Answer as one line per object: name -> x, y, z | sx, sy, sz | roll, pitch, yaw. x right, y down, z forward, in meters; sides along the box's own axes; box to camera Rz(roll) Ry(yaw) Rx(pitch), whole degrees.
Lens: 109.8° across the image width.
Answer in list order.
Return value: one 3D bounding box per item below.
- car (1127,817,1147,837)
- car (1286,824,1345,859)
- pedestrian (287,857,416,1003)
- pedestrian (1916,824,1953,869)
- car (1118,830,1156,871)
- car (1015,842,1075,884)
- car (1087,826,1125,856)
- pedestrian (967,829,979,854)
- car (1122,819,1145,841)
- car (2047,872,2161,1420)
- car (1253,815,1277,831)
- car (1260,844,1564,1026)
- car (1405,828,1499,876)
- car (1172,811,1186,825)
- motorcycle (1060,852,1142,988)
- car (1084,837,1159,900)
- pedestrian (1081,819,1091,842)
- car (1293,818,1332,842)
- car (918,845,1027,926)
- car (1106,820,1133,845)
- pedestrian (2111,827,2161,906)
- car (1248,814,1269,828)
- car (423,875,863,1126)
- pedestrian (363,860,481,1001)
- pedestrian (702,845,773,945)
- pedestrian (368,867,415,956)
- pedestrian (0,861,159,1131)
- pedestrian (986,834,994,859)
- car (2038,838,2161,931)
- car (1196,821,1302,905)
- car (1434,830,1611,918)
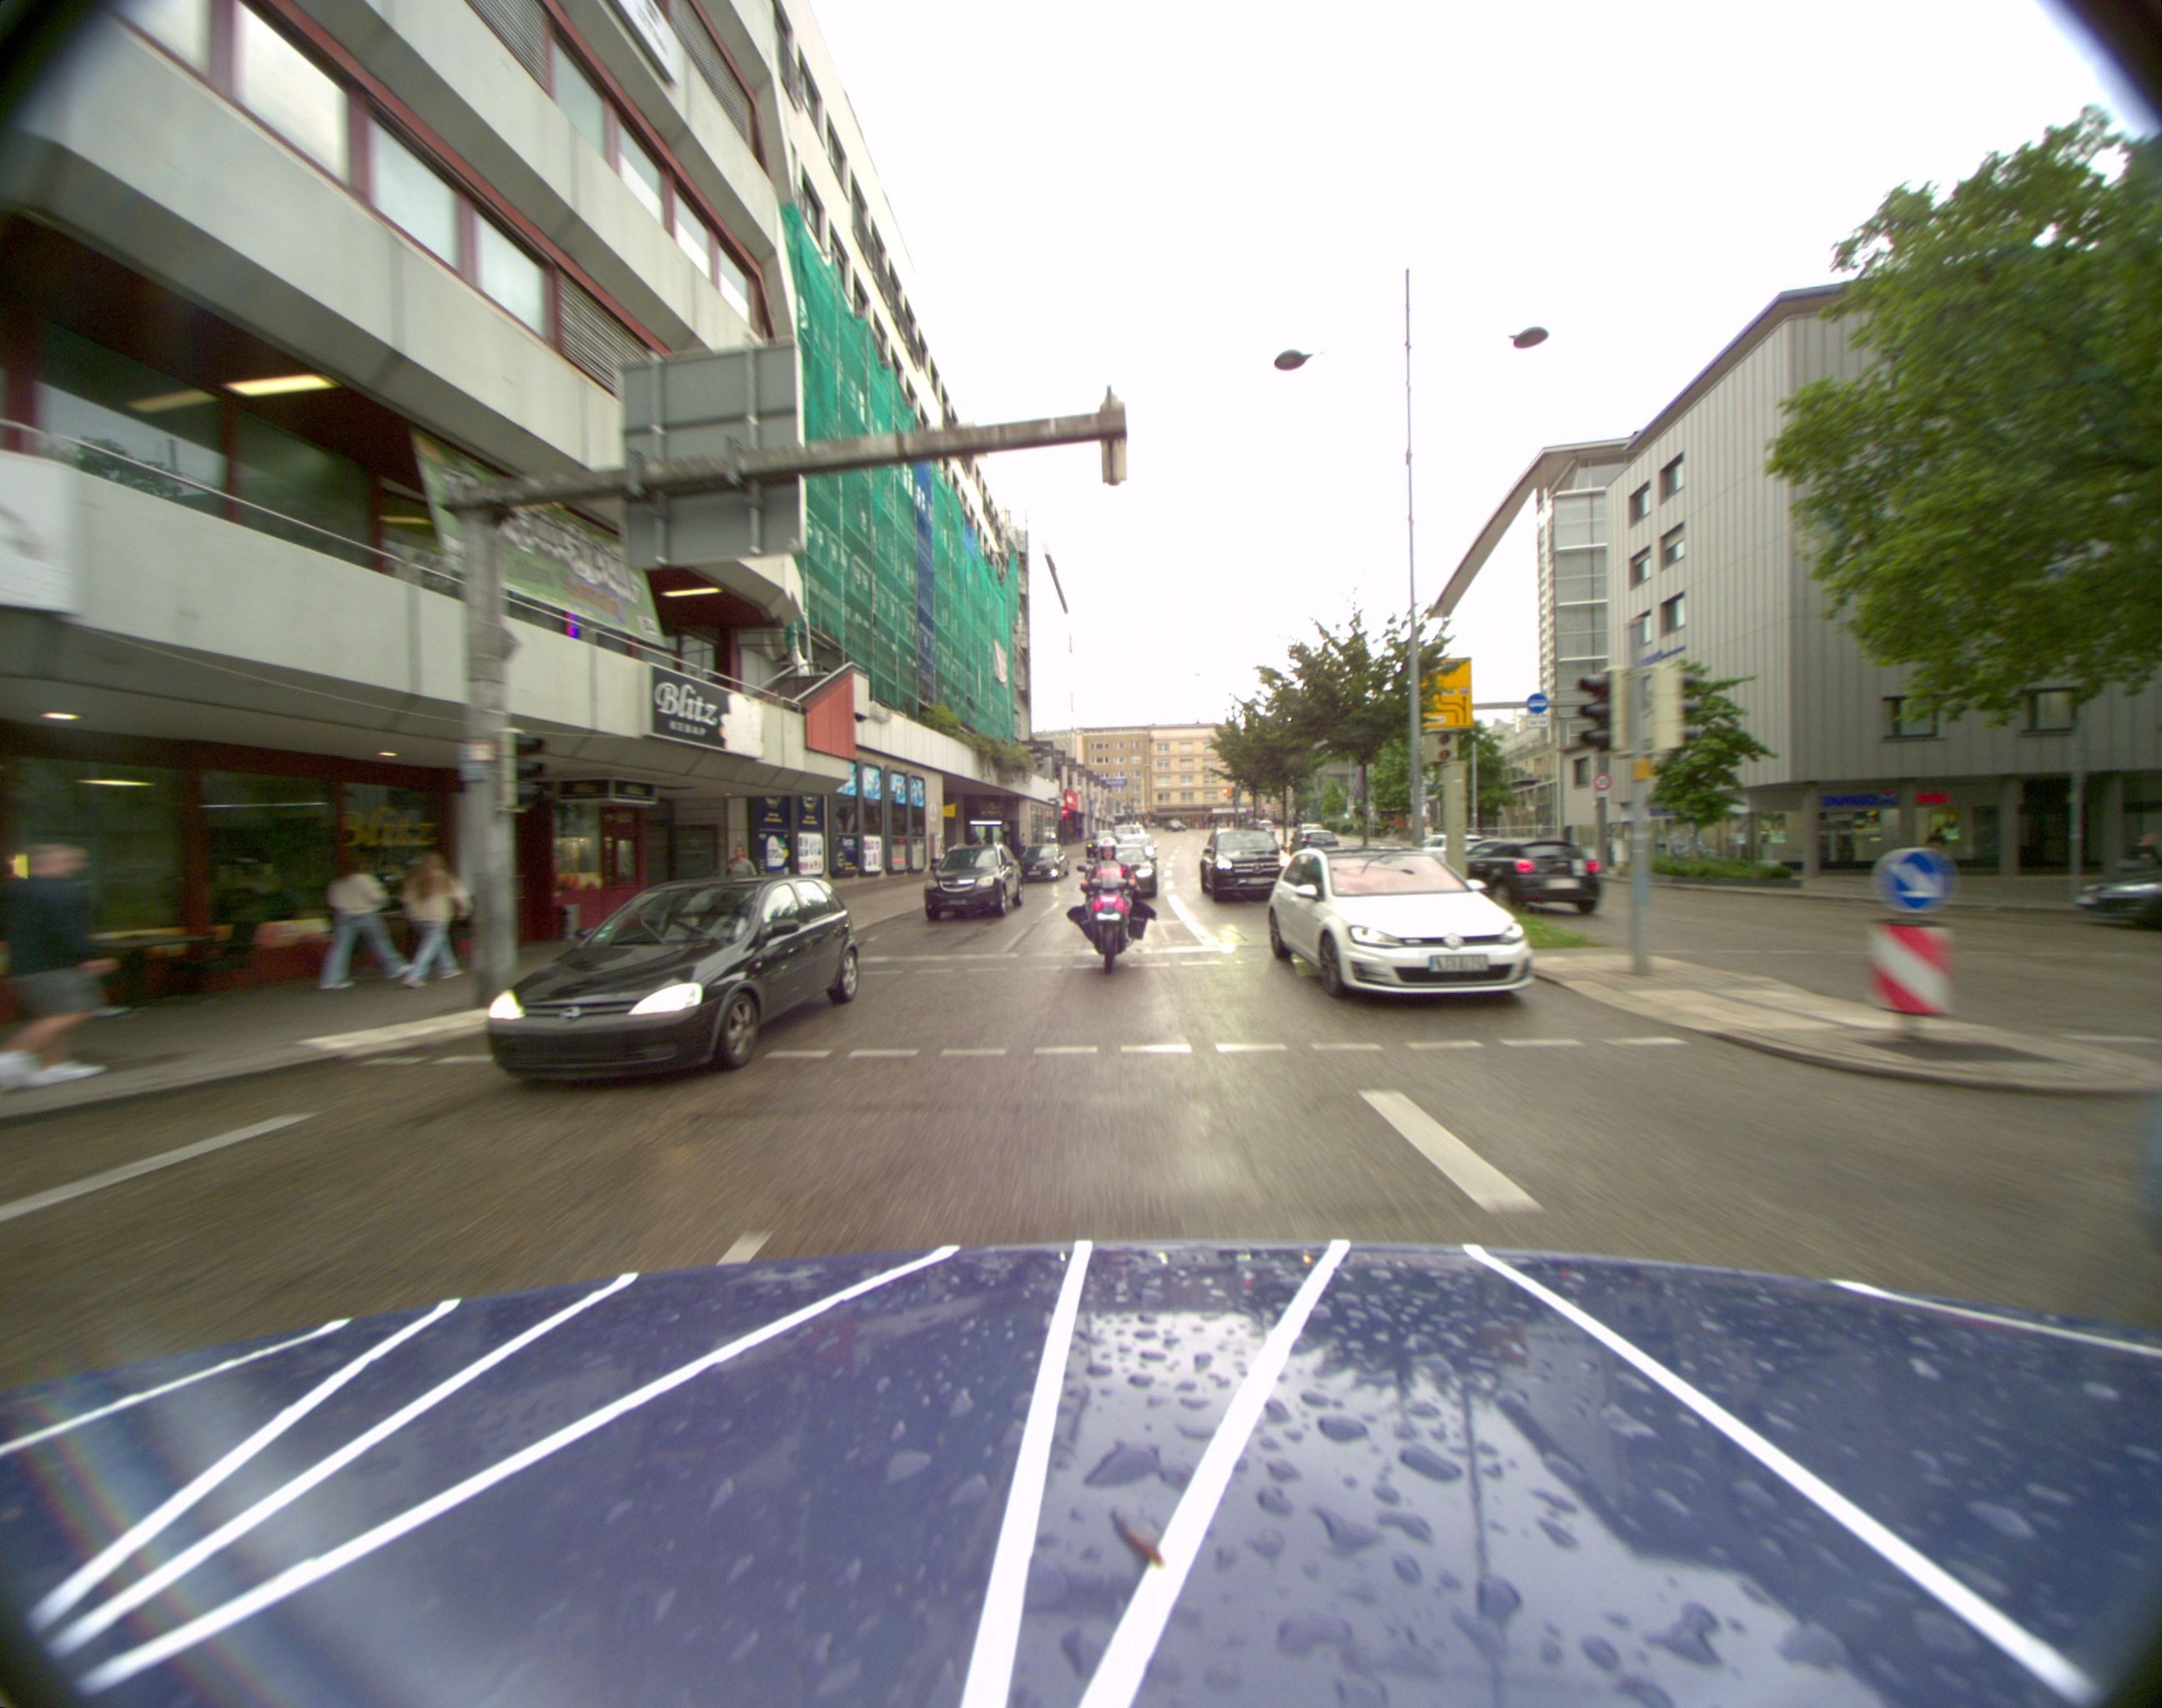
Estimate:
car -> 5.458, -2.633, 73.511 | 1.831, 1.727, 3.999 | 0, 4, 6
car -> 10.576, -0.597, 34.561 | 1.717, 1.470, 3.957 | 0, 2, 4
pedestrian -> -8.983, 0.888, 9.402 | 0.589, 1.696, 0.971 | 0, 1, 7
pedestrian -> 32.273, -0.293, 28.753 | 0.622, 1.648, 0.632 | -1, 4, 11
car -> 2.605, -0.186, 34.689 | 1.631, 1.732, 3.600 | -1, 2, 6
car -> -1.437, 0.331, 31.607 | 1.681, 1.422, 3.777 | -3, 3, 9
car -> 1.638, -0.859, 48.786 | 1.775, 1.575, 4.000 | -4, 3, 10
pedestrian -> -6.432, -0.738, 45.279 | 0.525, 1.481, 0.428 | -3, 4, -26
car -> 4.670, -2.133, 66.913 | 1.831, 1.727, 3.999 | 0, 4, 6
car -> 4.039, 0.793, 0.597 | 1.701, 1.466, 3.686 | -2, 1, -11
car -> 17.689, -2.973, 73.182 | 1.628, 1.430, 3.646 | -1, 3, 5
car -> 3.292, 0.676, 8.485 | 1.769, 1.401, 3.999 | -3, 2, 3
car -> 12.530, -0.092, 25.898 | 1.675, 1.507, 3.643 | 0, 1, 5
car -> 12.867, -4.730, 99.997 | 1.831, 1.727, 3.999 | 0, 4, 6
motorcycle -> 0.345, 0.768, 10.304 | 0.831, 1.479, 2.866 | -3, 2, 6
car -> 1.303, 0.343, 22.522 | 1.936, 1.512, 4.468 | -2, 3, 6
pedestrian -> 0.410, -1.941, 63.134 | 0.707, 1.772, 0.641 | 3, 9, 7
car -> 15.091, -1.555, 49.745 | 1.622, 1.483, 3.879 | 1, 2, 4
car -> -2.543, 0.671, 18.855 | 1.735, 1.669, 4.249 | -3, 1, 4
car -> 2.957, -1.656, 58.024 | 1.831, 1.727, 3.999 | 0, 4, 6
pedestrian -> 22.317, 0.255, 15.842 | 0.679, 1.597, 0.701 | 0, 1, 6
car -> 20.664, -3.889, 88.502 | 1.997, 1.501, 4.185 | -1, 3, 8
car -> -3.299, 0.981, 6.623 | 1.596, 1.432, 3.627 | -2, 0, 2
pedestrian -> -8.181, 0.906, 9.467 | 0.575, 1.654, 0.941 | 0, 1, 7
pedestrian -> -6.476, 0.745, 14.345 | 0.897, 1.770, 0.805 | 3, 4, 8
pedestrian -> -11.975, 0.985, 13.209 | 0.460, 1.479, 0.508 | -3, 4, -34
pedestrian -> -7.638, 0.971, 5.466 | 0.750, 1.770, 0.888 | -3, 3, 1
pedestrian -> -5.372, -0.437, 44.762 | 0.429, 1.481, 0.524 | -1, 4, -4
car -> 17.999, 0.460, 11.232 | 4.413, 1.388, 1.937 | 1, 2, 38
car -> 4.300, 0.121, 20.234 | 1.998, 1.768, 4.884 | -4, 3, 5
car -> 8.762, 0.342, 15.449 | 1.626, 1.546, 3.660 | -1, 1, 3
